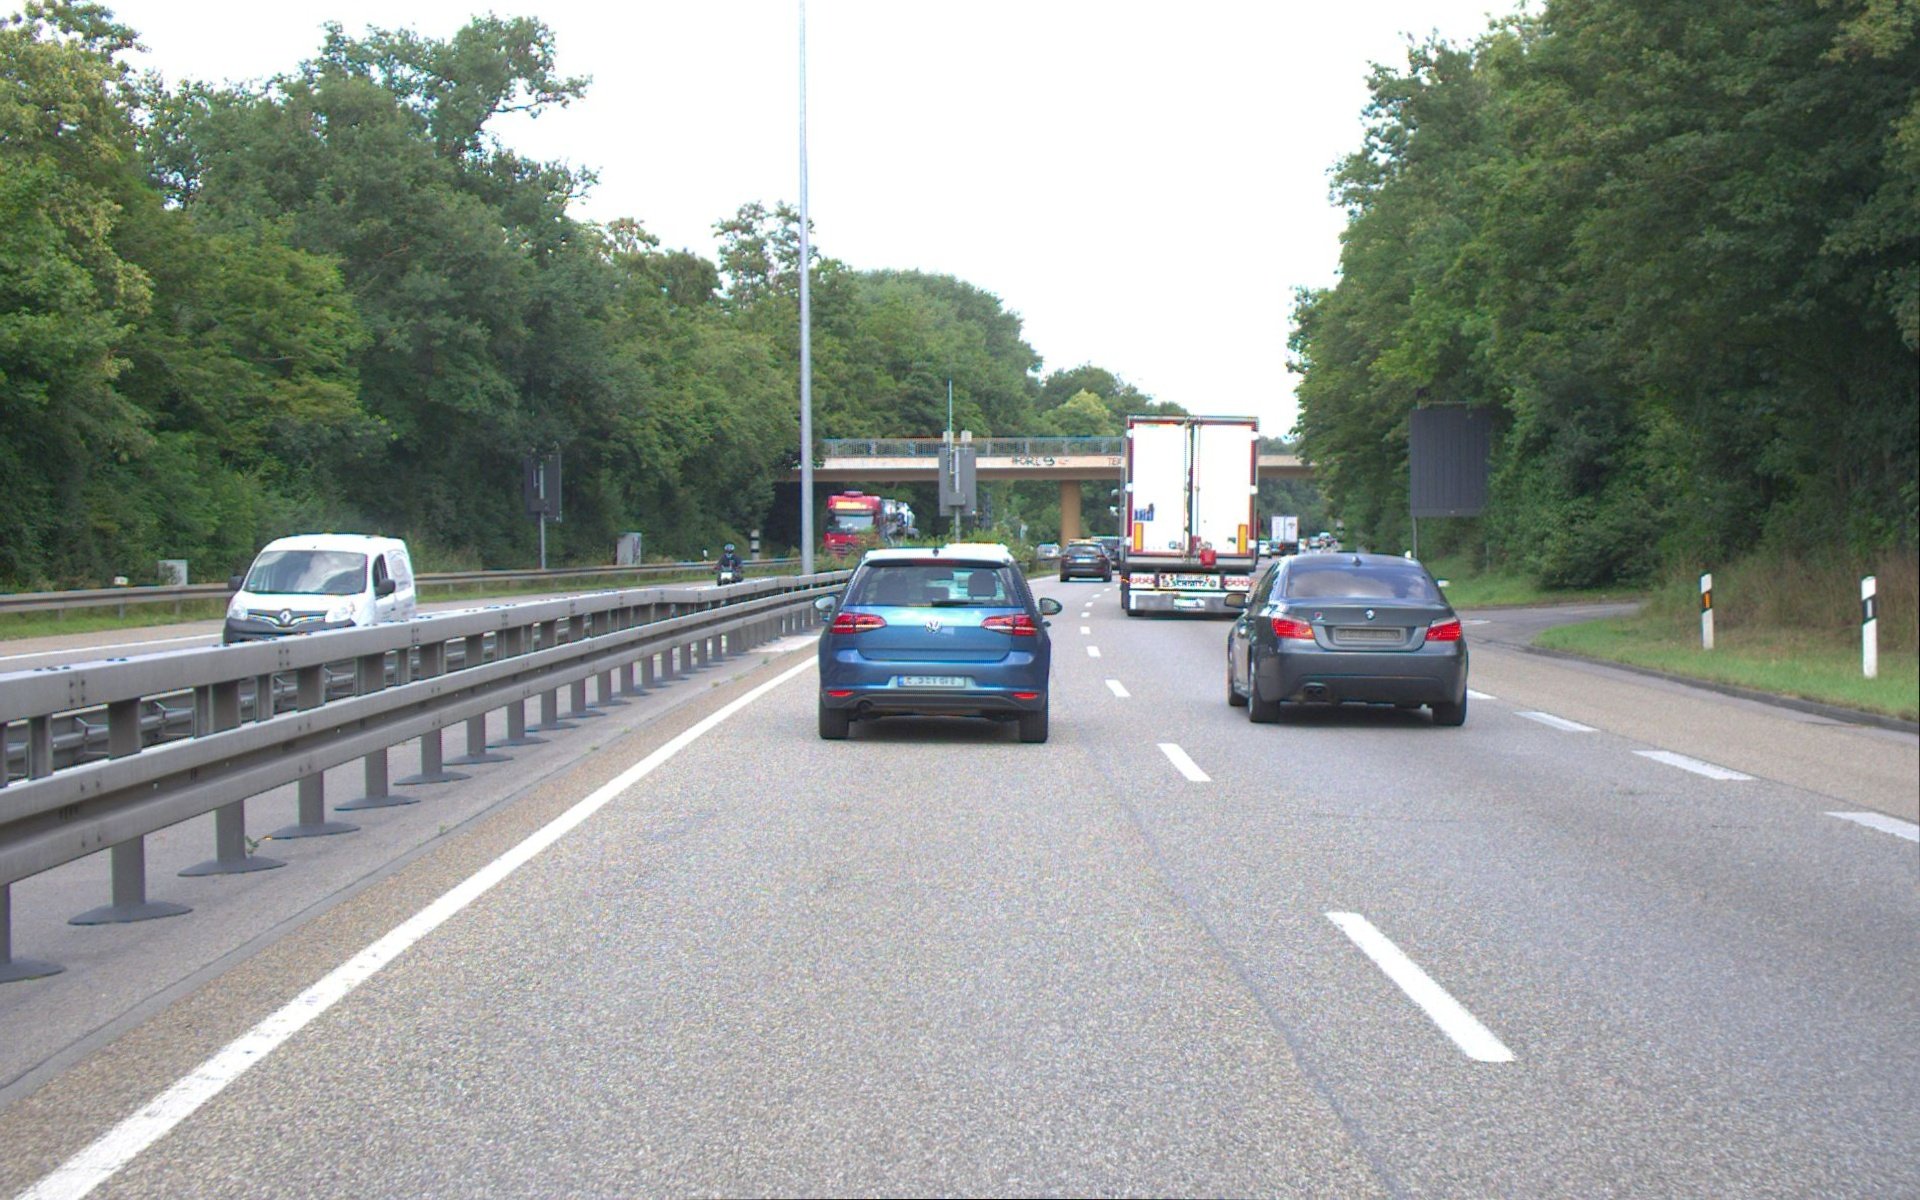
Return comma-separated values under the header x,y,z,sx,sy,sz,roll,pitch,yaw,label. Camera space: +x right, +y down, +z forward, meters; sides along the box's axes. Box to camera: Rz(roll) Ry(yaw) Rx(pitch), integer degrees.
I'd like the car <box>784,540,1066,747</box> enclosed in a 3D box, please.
x,y,z,sx,sy,sz,roll,pitch,yaw,label
-0.197,0.279,26.971,1.705,1.465,3.999,1,1,6,car

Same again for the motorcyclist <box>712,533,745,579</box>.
x,y,z,sx,sy,sz,roll,pitch,yaw,label
-6.193,-1.172,91.902,0.825,1.222,0.720,0,1,1,motorcyclist

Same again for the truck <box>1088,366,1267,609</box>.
x,y,z,sx,sy,sz,roll,pitch,yaw,label
4.422,-2.287,72.286,3.242,4.700,11.007,0,1,1,truck

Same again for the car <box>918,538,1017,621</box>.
x,y,z,sx,sy,sz,roll,pitch,yaw,label
0.172,-0.420,65.310,1.665,1.495,4.152,1,1,3,car

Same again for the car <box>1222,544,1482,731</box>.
x,y,z,sx,sy,sz,roll,pitch,yaw,label
3.364,0.266,30.322,1.774,1.470,4.880,1,1,1,car

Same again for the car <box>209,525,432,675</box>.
x,y,z,sx,sy,sz,roll,pitch,yaw,label
-8.138,-0.052,44.218,1.844,1.812,5.478,0,1,0,car

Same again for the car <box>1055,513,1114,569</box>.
x,y,z,sx,sy,sz,roll,pitch,yaw,label
4.600,-2.157,126.434,1.954,2.007,3.999,0,1,5,car

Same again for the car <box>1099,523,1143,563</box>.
x,y,z,sx,sy,sz,roll,pitch,yaw,label
7.178,-2.534,152.815,1.766,1.766,4.023,0,1,6,car

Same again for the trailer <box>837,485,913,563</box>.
x,y,z,sx,sy,sz,roll,pitch,yaw,label
-4.234,-3.814,173.622,2.938,3.820,10.309,-1,1,3,trailer

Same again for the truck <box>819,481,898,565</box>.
x,y,z,sx,sy,sz,roll,pitch,yaw,label
-4.753,-3.633,163.335,2.955,3.842,10.323,-1,1,3,truck

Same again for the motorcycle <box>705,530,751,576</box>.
x,y,z,sx,sy,sz,roll,pitch,yaw,label
-6.225,-1.273,92.273,1.000,1.197,2.997,0,1,1,motorcycle
